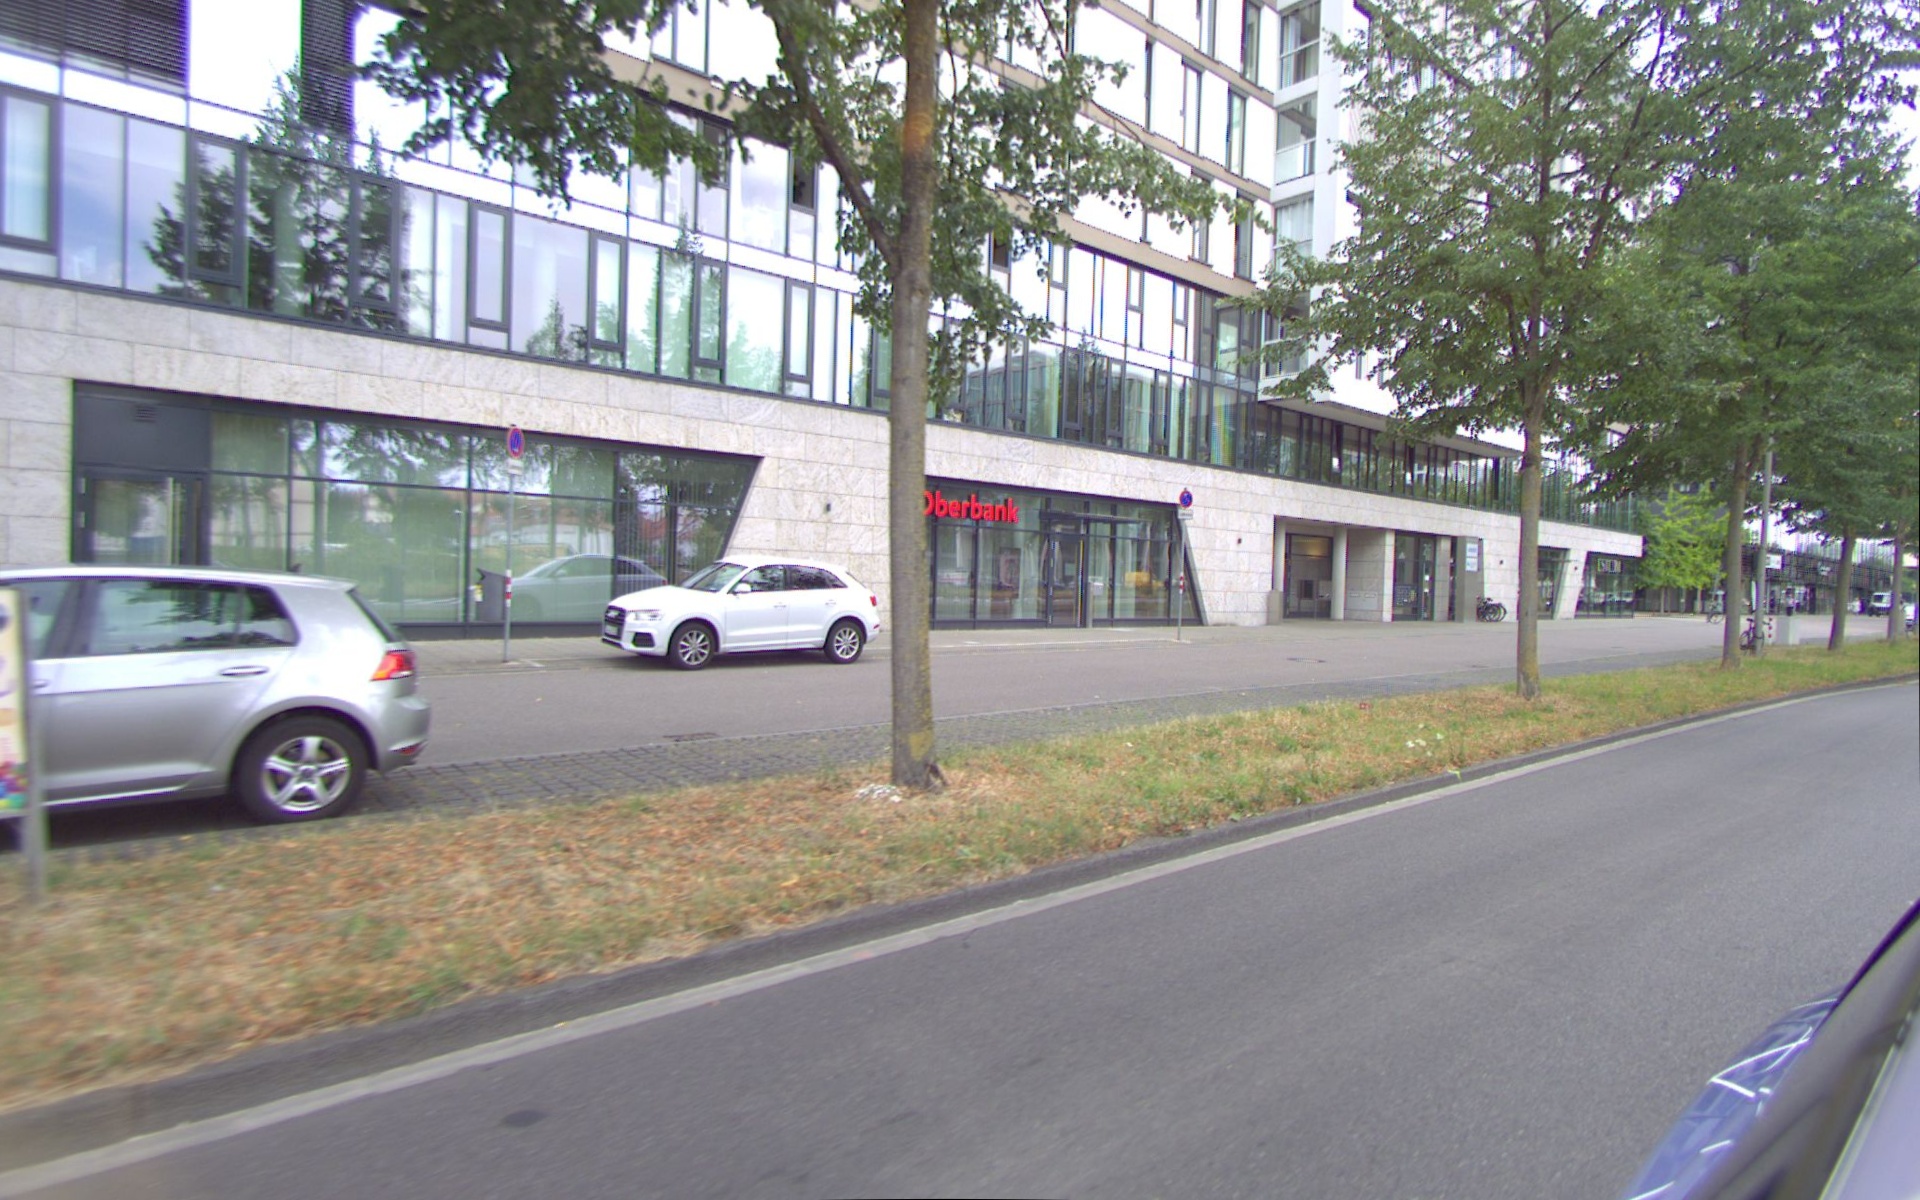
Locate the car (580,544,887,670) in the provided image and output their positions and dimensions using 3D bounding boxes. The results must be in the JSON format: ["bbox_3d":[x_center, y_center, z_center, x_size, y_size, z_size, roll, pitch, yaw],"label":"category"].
[{"bbox_3d":[-3.384,0.064,15.524,4.164,1.607,1.862,0,4,-40],"label":"car"}]

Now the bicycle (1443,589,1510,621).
[{"bbox_3d":[20.953,0.198,41.085,2.231,1.191,0.961,3,2,43],"label":"bicycle"}]

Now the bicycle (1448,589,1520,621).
[{"bbox_3d":[21.740,0.188,42.025,2.418,1.191,1.184,3,2,43],"label":"bicycle"}]

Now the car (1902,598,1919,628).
[{"bbox_3d":[52.182,0.712,54.322,3.930,1.549,1.953,0,2,-41],"label":"car"}]

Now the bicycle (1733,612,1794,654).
[{"bbox_3d":[18.419,0.738,23.180,2.077,0.887,0.634,0,0,-39],"label":"bicycle"}]

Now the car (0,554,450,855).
[{"bbox_3d":[-5.212,0.476,5.452,4.108,1.439,1.764,0,1,-40],"label":"car"}]

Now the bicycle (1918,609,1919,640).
[{"bbox_3d":[33.074,0.846,33.599,1.778,1.032,0.417,2,1,36],"label":"bicycle"}]
